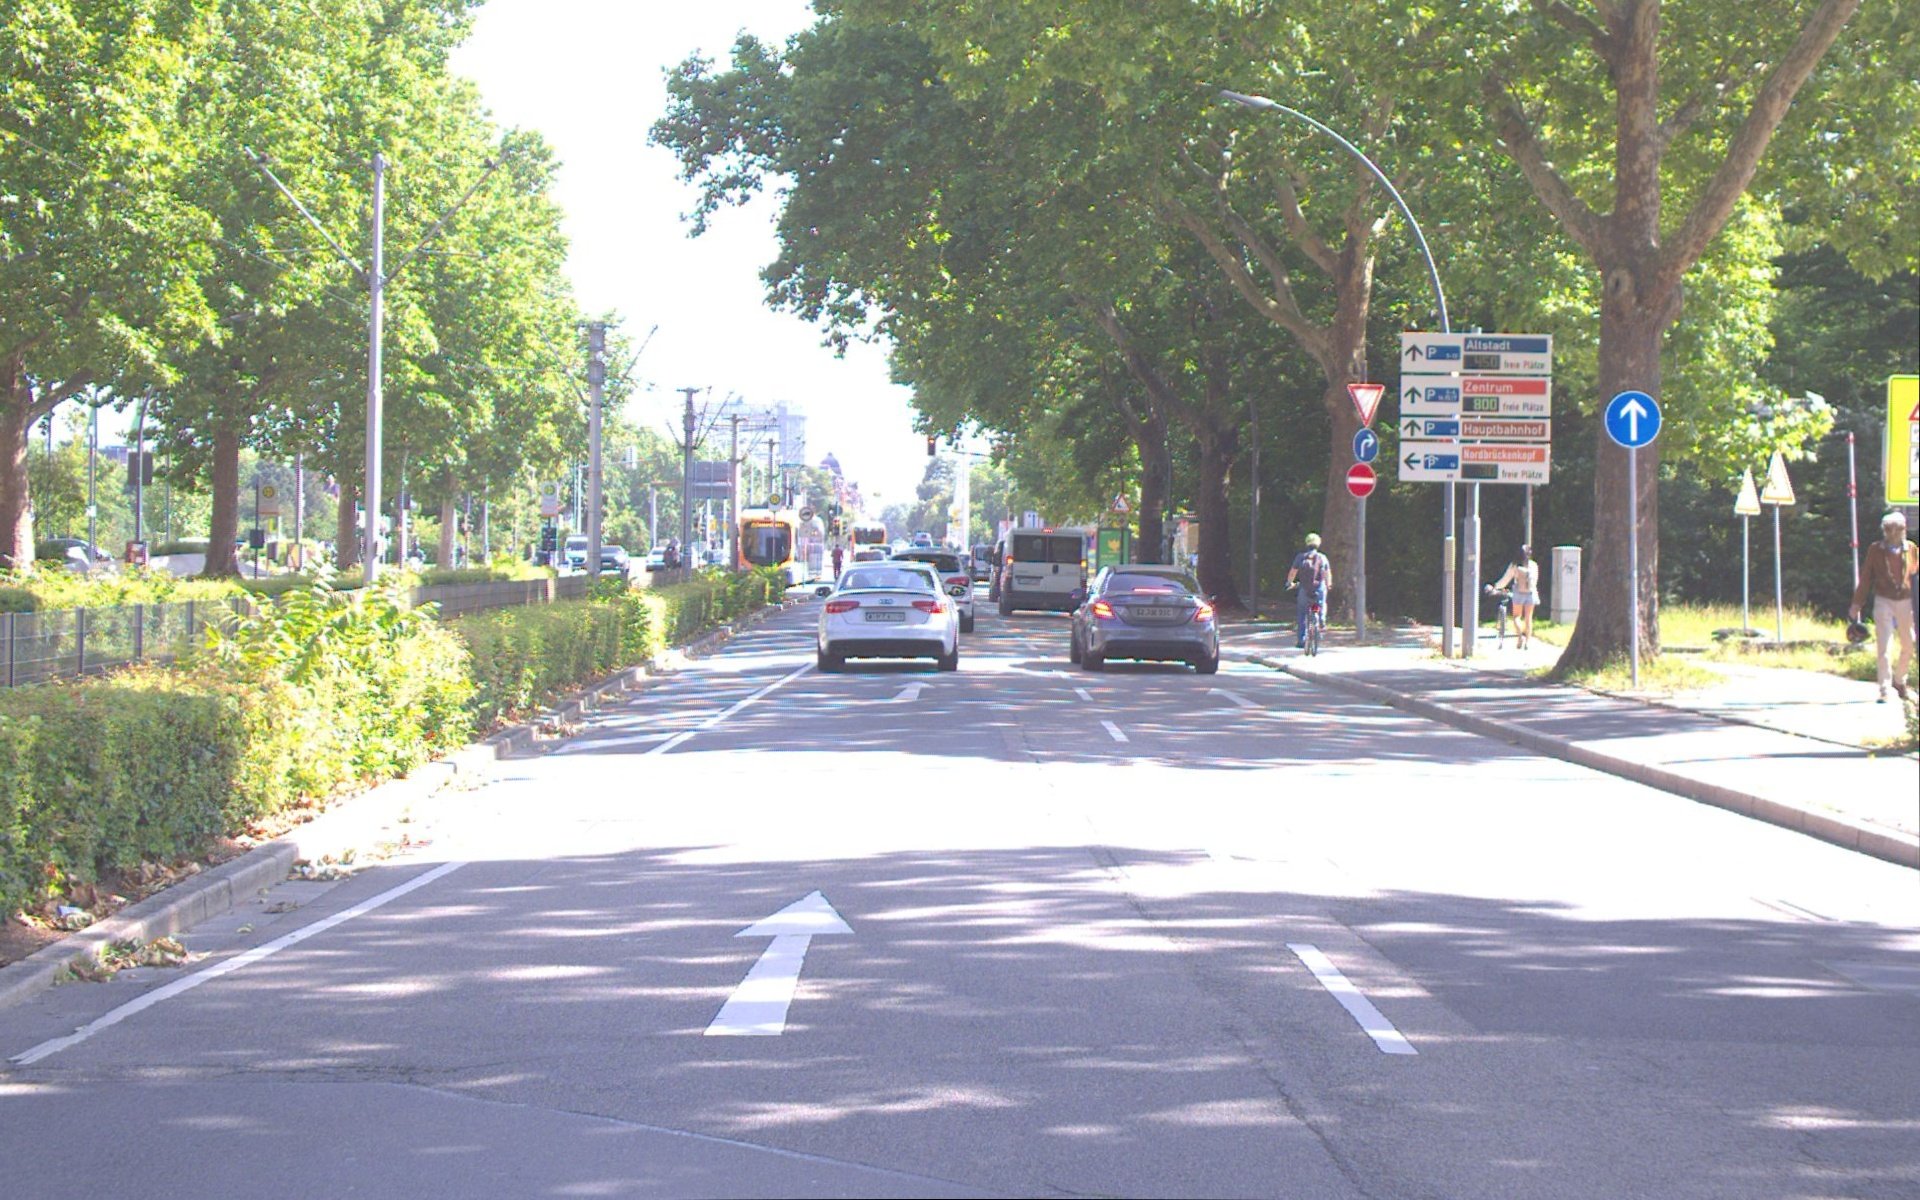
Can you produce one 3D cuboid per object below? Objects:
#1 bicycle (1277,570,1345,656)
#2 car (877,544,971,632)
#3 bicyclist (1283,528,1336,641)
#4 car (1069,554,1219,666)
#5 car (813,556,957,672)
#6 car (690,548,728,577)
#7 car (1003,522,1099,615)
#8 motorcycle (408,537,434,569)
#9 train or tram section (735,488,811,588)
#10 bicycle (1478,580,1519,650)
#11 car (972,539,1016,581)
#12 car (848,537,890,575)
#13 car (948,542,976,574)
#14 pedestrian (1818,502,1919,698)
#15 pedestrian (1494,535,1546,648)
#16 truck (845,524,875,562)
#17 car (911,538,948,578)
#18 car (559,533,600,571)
[{"bbox_3d":[5.243,0.181,51.453,0.714,1.144,2.179,-1,3,-1],"label":"bicycle"},{"bbox_3d":[-0.675,-0.248,66.239,1.729,1.599,3.885,1,1,0],"label":"car"},{"bbox_3d":[5.232,-0.245,51.515,0.634,1.642,0.979,-1,2,-1],"label":"bicyclist"},{"bbox_3d":[2.463,0.101,46.827,1.782,1.415,4.000,1,1,0],"label":"car"},{"bbox_3d":[-0.947,0.152,45.162,1.784,1.416,3.885,1,1,0],"label":"car"},{"bbox_3d":[-15.623,-2.333,213.918,1.993,1.728,4.000,1,1,0],"label":"car"},{"bbox_3d":[2.248,-0.795,86.091,2.230,2.204,4.162,1,1,0],"label":"car"},{"bbox_3d":[-19.979,-1.755,127.423,0.632,1.171,2.000,1,1,0],"label":"motorcycle"},{"bbox_3d":[-7.761,-2.564,143.647,2.616,4.001,7.749,1,1,0],"label":"train or tram section"},{"bbox_3d":[8.593,0.233,54.875,0.349,1.078,1.699,1,1,-1],"label":"bicycle"},{"bbox_3d":[1.661,-1.961,167.983,2.072,1.992,4.058,1,1,0],"label":"car"},{"bbox_3d":[-4.059,-1.962,153.322,1.729,1.625,4.000,1,1,0],"label":"car"},{"bbox_3d":[0.124,-2.631,214.810,1.729,1.895,4.000,1,1,0],"label":"car"},{"bbox_3d":[9.092,-0.008,33.883,0.939,1.886,1.151,1,1,0],"label":"pedestrian"},{"bbox_3d":[8.956,-0.148,55.031,0.632,1.779,0.874,1,1,-1],"label":"pedestrian"},{"bbox_3d":[-7.542,-4.326,259.915,1.993,2.780,8.518,1,1,0],"label":"truck"},{"bbox_3d":[-1.461,-2.056,167.568,1.729,1.895,4.000,1,1,0],"label":"car"},{"bbox_3d":[-24.152,-3.058,218.163,2.114,2.374,4.000,1,1,0],"label":"car"}]
